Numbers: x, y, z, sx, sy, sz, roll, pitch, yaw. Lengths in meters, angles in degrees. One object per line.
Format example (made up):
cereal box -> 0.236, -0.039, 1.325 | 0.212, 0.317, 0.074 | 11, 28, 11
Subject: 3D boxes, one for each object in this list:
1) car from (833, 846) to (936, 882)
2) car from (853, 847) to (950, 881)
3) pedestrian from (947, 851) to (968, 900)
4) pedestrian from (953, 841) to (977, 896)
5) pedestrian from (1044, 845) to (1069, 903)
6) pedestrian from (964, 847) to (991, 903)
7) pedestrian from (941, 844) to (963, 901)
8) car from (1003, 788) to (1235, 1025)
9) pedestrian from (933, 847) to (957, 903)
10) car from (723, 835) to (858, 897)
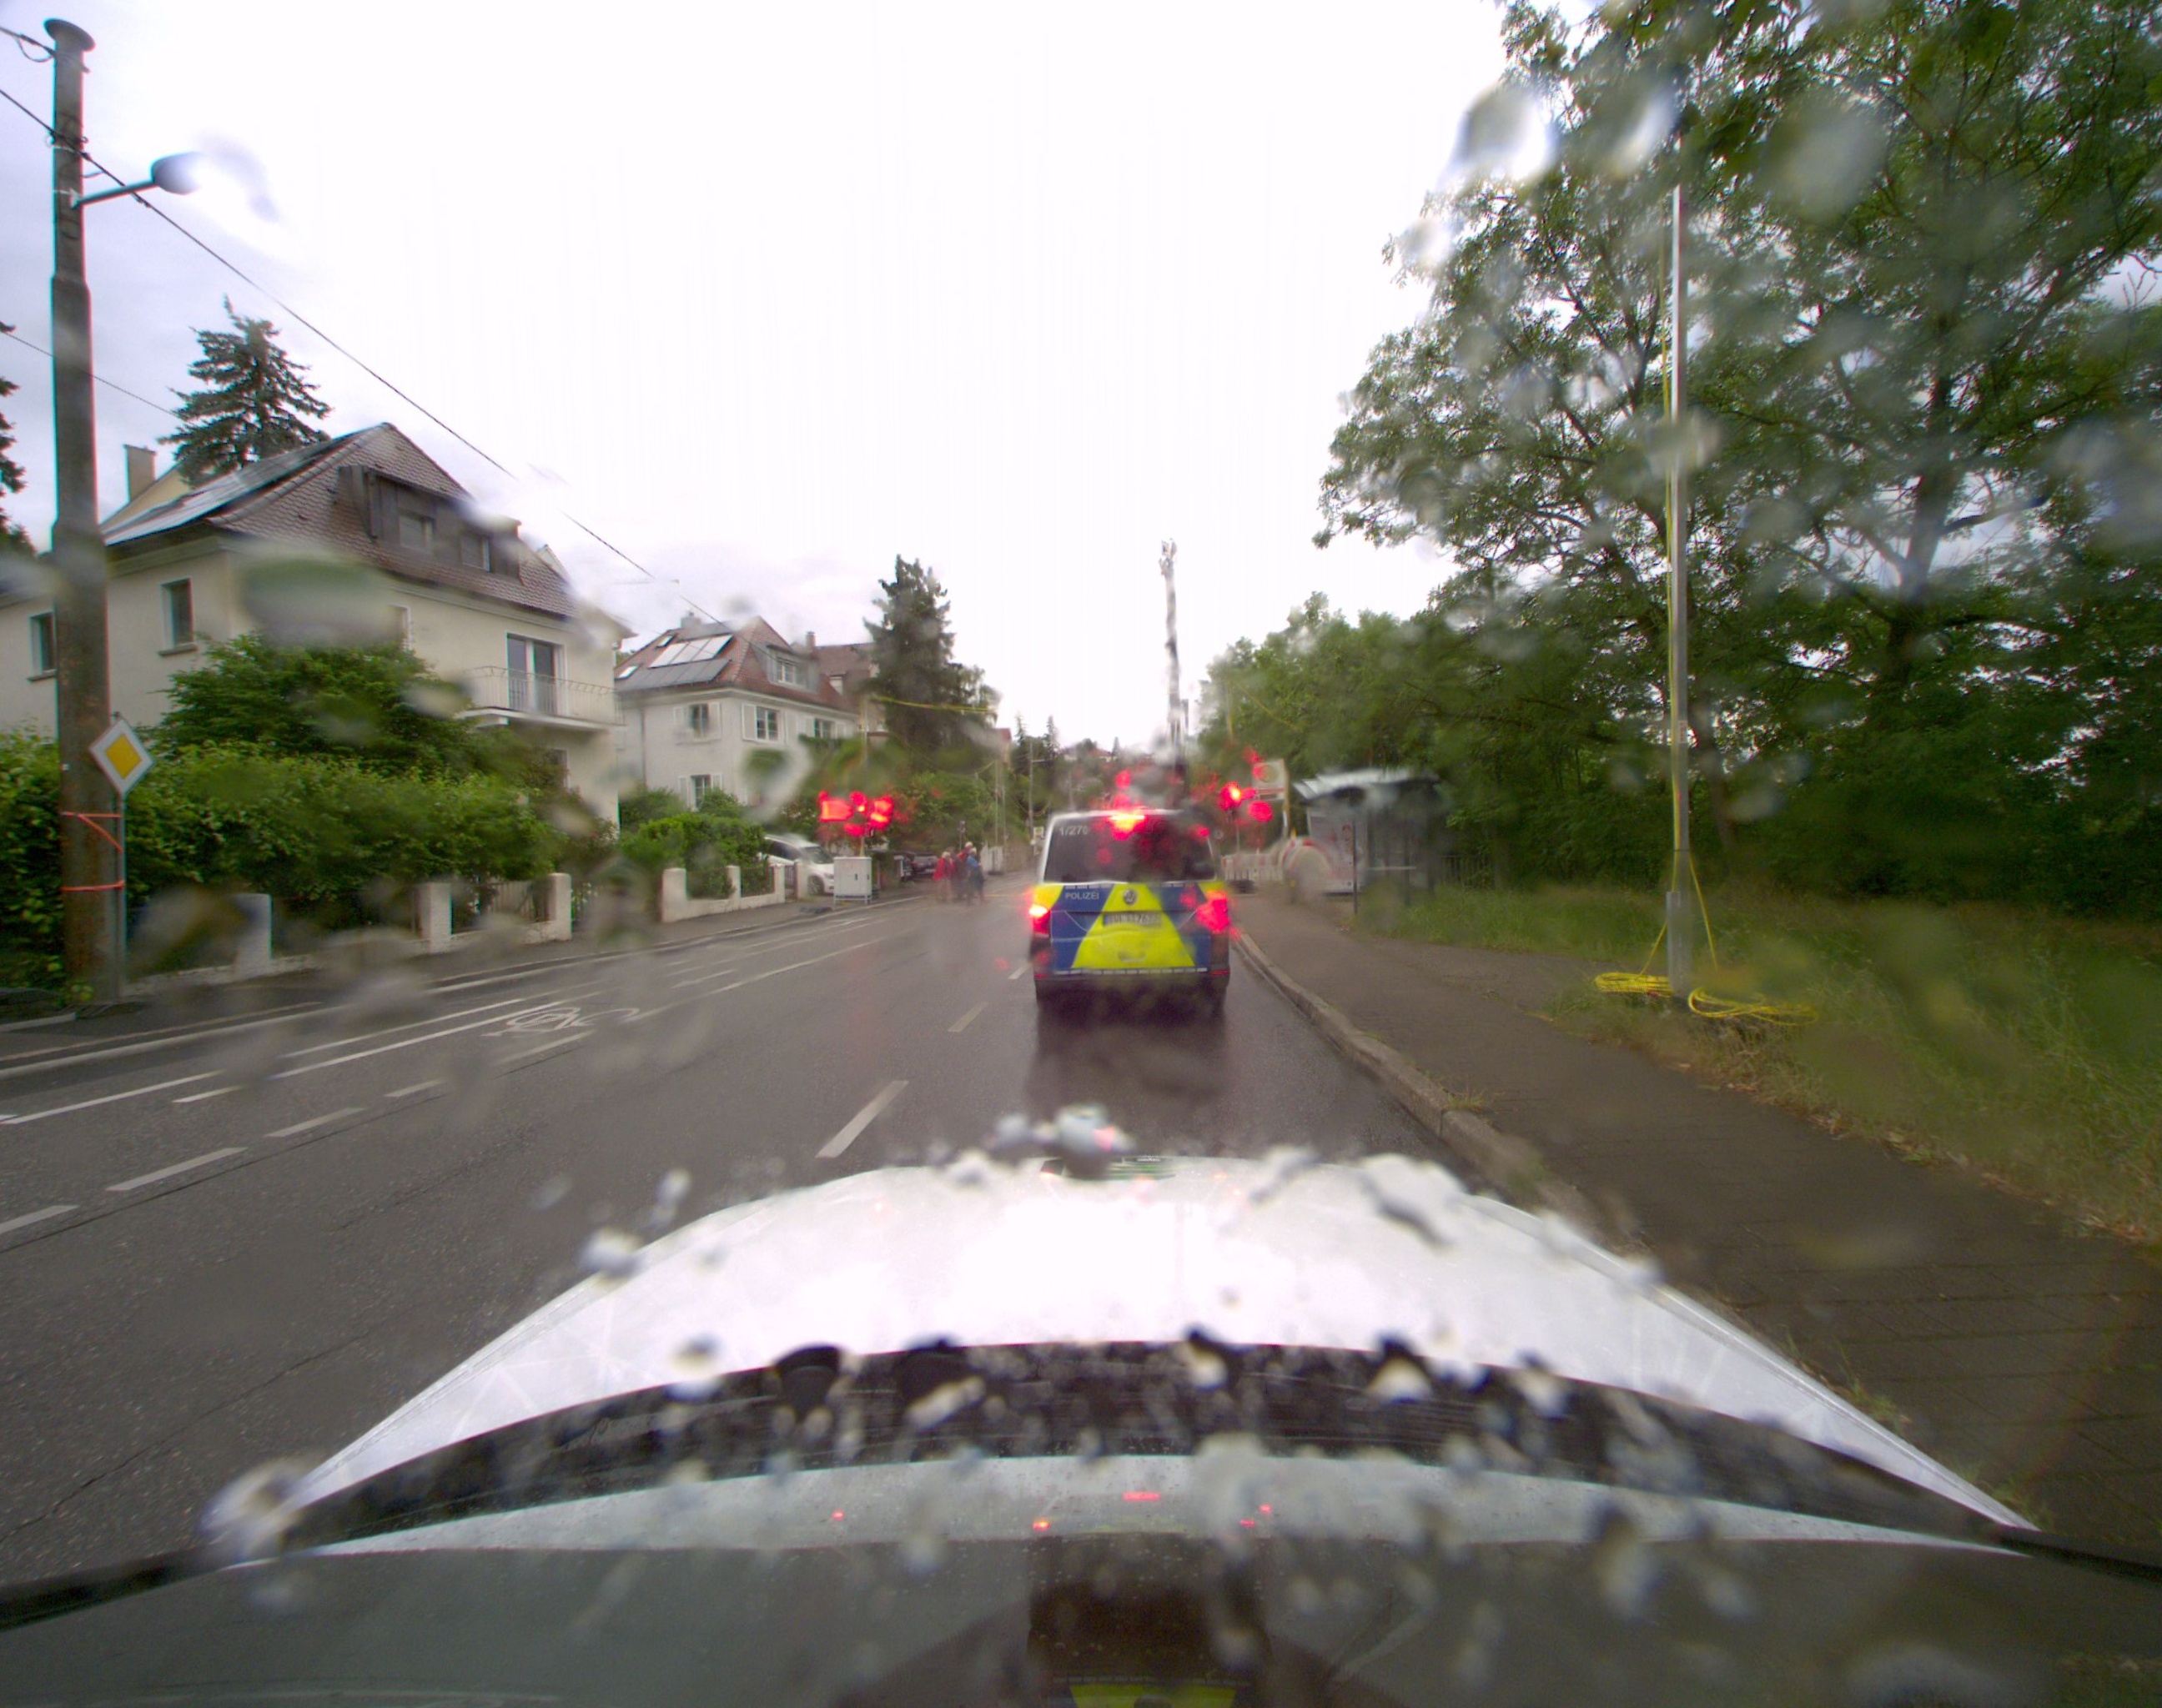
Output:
car -> -8.528, 0.450, 35.458 | 3.960, 1.486, 1.765 | 0, -2, 12
car -> -8.273, 0.472, 37.603 | 3.960, 1.486, 1.765 | 0, -2, 12
pedestrian -> -3.813, 0.663, 25.202 | 0.523, 1.507, 0.429 | 0, -2, 3
pedestrian -> -3.704, 0.465, 26.076 | 0.623, 1.715, 0.593 | 0, -2, 4
pedestrian -> -0.688, 0.564, 22.950 | 0.683, 1.604, 0.606 | 0, -2, 0
pedestrian -> -2.905, 0.590, 22.861 | 0.623, 1.522, 0.593 | 0, -2, 4
pedestrian -> -3.836, 0.561, 24.188 | 0.546, 1.668, 0.414 | 0, -2, 3
car -> 0.530, 0.417, 9.197 | 1.984, 2.013, 4.409 | 0, 1, 5
pedestrian -> -3.939, 0.613, 23.579 | 0.560, 1.582, 0.468 | 0, -2, 3
car -> -9.977, 0.417, 28.041 | 3.959, 2.013, 1.837 | -1, 0, 13
